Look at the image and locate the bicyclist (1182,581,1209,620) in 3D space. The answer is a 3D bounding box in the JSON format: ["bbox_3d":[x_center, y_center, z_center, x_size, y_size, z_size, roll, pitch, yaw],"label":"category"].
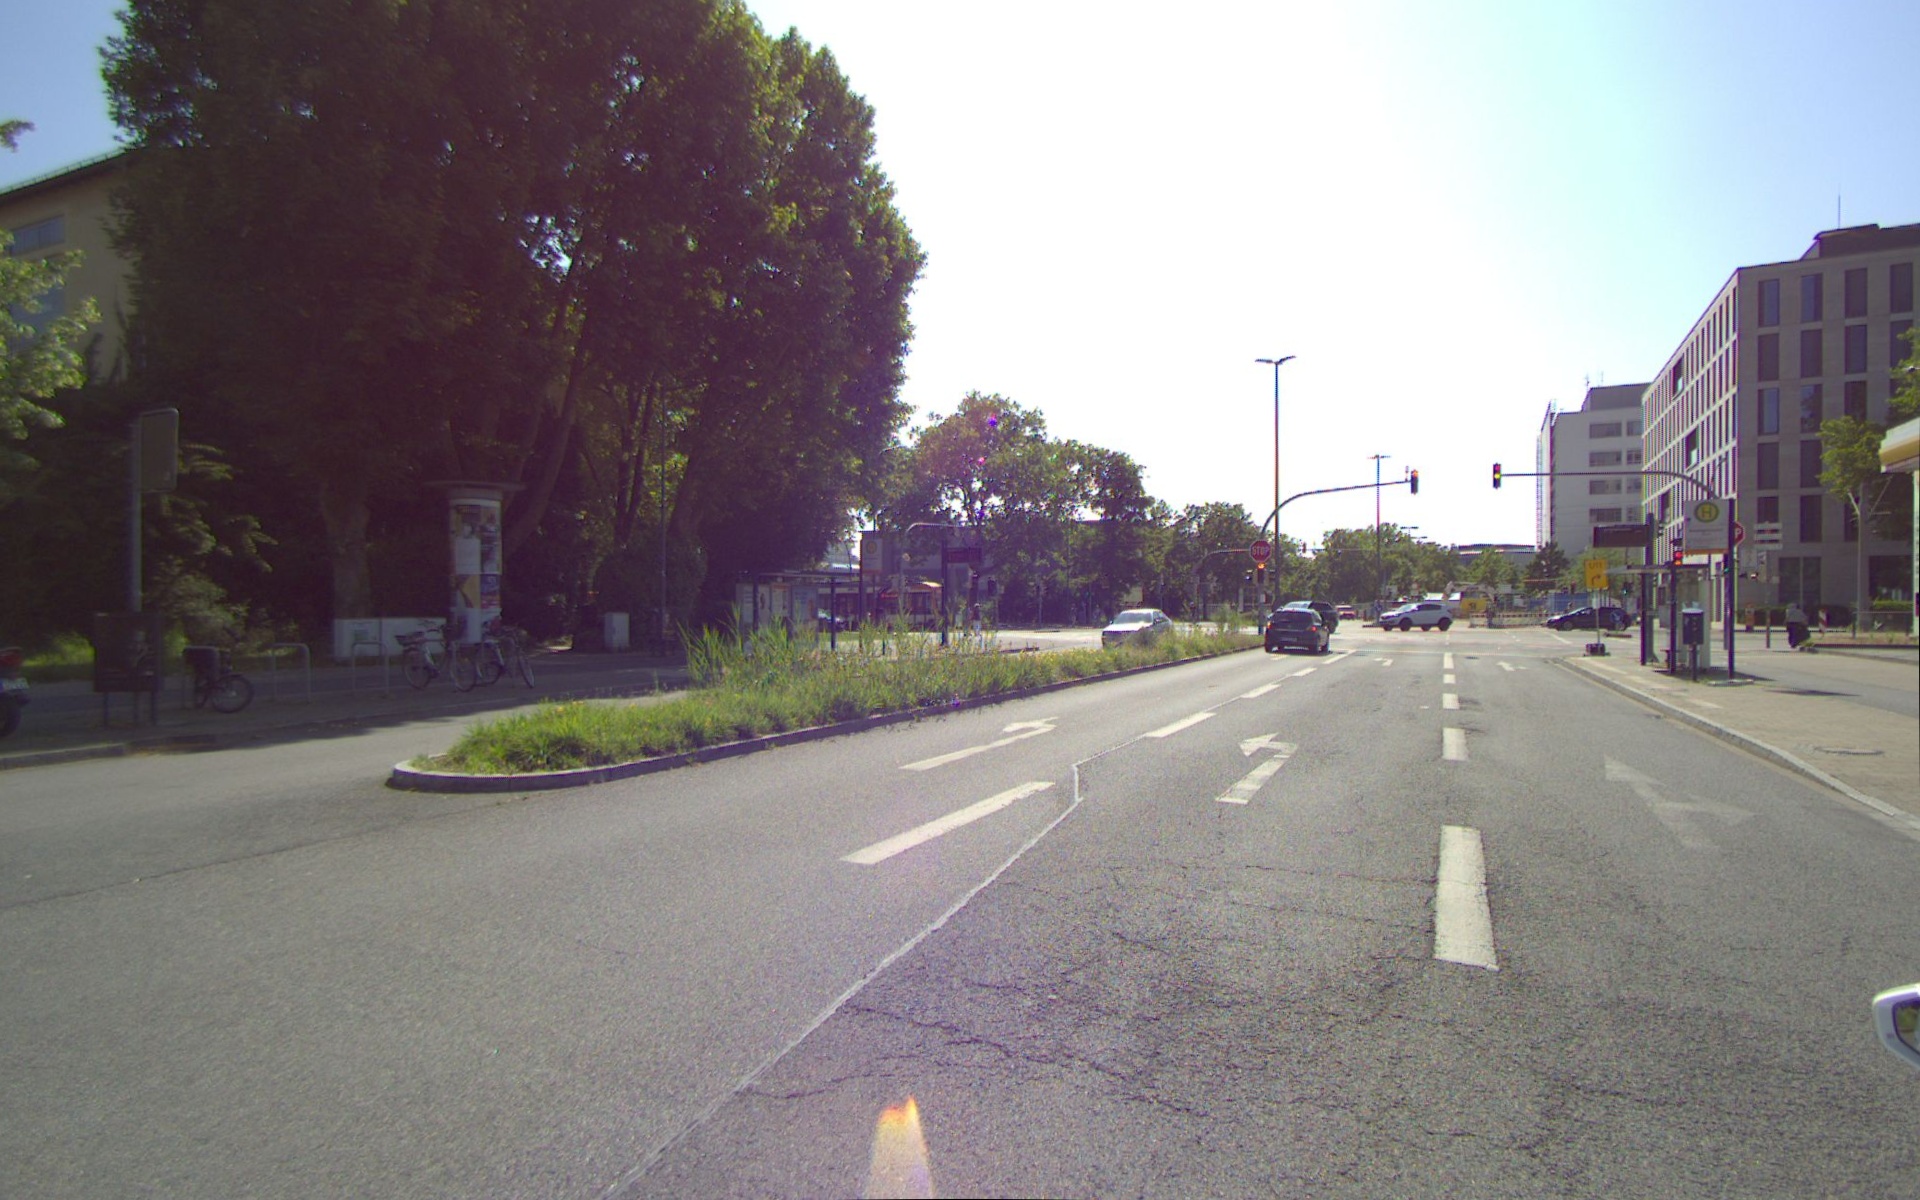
[{"bbox_3d":[18.634,0.053,79.359,1.575,2.970,2.351,0,0,26],"label":"bicyclist"}]

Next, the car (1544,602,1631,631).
[{"bbox_3d":[37.176,0.962,59.638,4.043,1.660,2.000,-1,-1,21],"label":"car"}]

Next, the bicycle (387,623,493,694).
[{"bbox_3d":[-8.838,0.964,17.069,1.817,1.121,0.692,0,0,28],"label":"bicycle"}]

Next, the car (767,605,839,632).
[{"bbox_3d":[-8.301,0.973,53.149,3.443,1.395,1.636,0,0,24],"label":"car"}]

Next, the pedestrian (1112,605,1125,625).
[{"bbox_3d":[12.762,1.206,80.865,0.934,1.633,0.660,0,0,-41],"label":"pedestrian"}]

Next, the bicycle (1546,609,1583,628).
[{"bbox_3d":[42.575,1.308,70.722,2.199,1.302,0.523,0,0,35],"label":"bicycle"}]

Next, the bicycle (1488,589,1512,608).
[{"bbox_3d":[55.147,-0.145,102.530,2.059,1.988,0.825,0,0,33],"label":"bicycle"}]

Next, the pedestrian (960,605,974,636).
[{"bbox_3d":[0.407,1.149,56.787,0.647,1.749,0.753,0,0,9],"label":"pedestrian"}]

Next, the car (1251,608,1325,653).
[{"bbox_3d":[11.072,0.971,33.769,1.962,1.417,3.997,0,0,24],"label":"car"}]

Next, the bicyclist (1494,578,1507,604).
[{"bbox_3d":[55.173,-0.890,102.515,1.054,2.608,0.825,1,0,33],"label":"bicyclist"}]

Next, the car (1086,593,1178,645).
[{"bbox_3d":[6.125,0.612,35.392,1.963,1.661,4.389,0,1,27],"label":"car"}]

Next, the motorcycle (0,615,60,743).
[{"bbox_3d":[-10.613,0.816,10.746,1.815,1.301,0.693,0,0,20],"label":"motorcycle"}]

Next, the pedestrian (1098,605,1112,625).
[{"bbox_3d":[11.476,1.188,79.508,0.934,1.633,0.648,0,0,-41],"label":"pedestrian"}]

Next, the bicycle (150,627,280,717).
[{"bbox_3d":[-10.018,0.939,13.490,1.817,1.106,0.692,0,0,28],"label":"bicycle"}]

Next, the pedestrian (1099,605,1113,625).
[{"bbox_3d":[11.809,1.207,81.244,0.934,1.633,0.648,0,0,-41],"label":"pedestrian"}]

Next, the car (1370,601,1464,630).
[{"bbox_3d":[27.073,0.917,59.517,4.781,1.658,1.997,0,0,-9],"label":"car"}]

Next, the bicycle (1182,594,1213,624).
[{"bbox_3d":[18.990,0.746,80.097,1.575,2.299,3.996,0,-1,26],"label":"bicycle"}]

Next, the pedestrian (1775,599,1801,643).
[{"bbox_3d":[29.456,0.744,35.749,0.608,1.564,0.461,0,0,26],"label":"pedestrian"}]

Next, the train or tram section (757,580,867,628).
[{"bbox_3d":[-10.769,0.311,72.862,7.437,3.376,3.117,0,0,25],"label":"train or tram section"}]

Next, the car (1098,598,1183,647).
[{"bbox_3d":[6.445,0.769,35.394,1.861,1.631,4.514,-1,-1,25],"label":"car"}]

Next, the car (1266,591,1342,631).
[{"bbox_3d":[18.567,0.587,54.070,4.838,2.040,1.974,0,-1,-45],"label":"car"}]

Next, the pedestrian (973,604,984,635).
[{"bbox_3d":[1.044,1.118,56.678,0.557,1.749,0.734,0,0,9],"label":"pedestrian"}]

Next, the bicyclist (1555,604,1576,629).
[{"bbox_3d":[42.600,1.162,70.720,1.223,1.696,0.523,0,0,35],"label":"bicyclist"}]

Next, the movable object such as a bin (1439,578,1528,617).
[{"bbox_3d":[63.628,-0.307,122.228,9.531,4.611,3.159,0,0,29],"label":"movable object such as a bin"}]

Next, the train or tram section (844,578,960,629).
[{"bbox_3d":[-4.044,0.276,69.678,7.437,3.376,3.117,0,0,25],"label":"train or tram section"}]

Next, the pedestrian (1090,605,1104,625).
[{"bbox_3d":[11.152,1.210,81.600,0.934,1.633,0.648,0,0,-41],"label":"pedestrian"}]

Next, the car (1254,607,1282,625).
[{"bbox_3d":[26.387,1.332,86.110,1.714,1.529,3.967,0,0,9],"label":"car"}]

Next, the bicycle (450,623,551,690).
[{"bbox_3d":[-8.259,0.988,18.031,1.817,1.137,0.692,0,0,28],"label":"bicycle"}]
